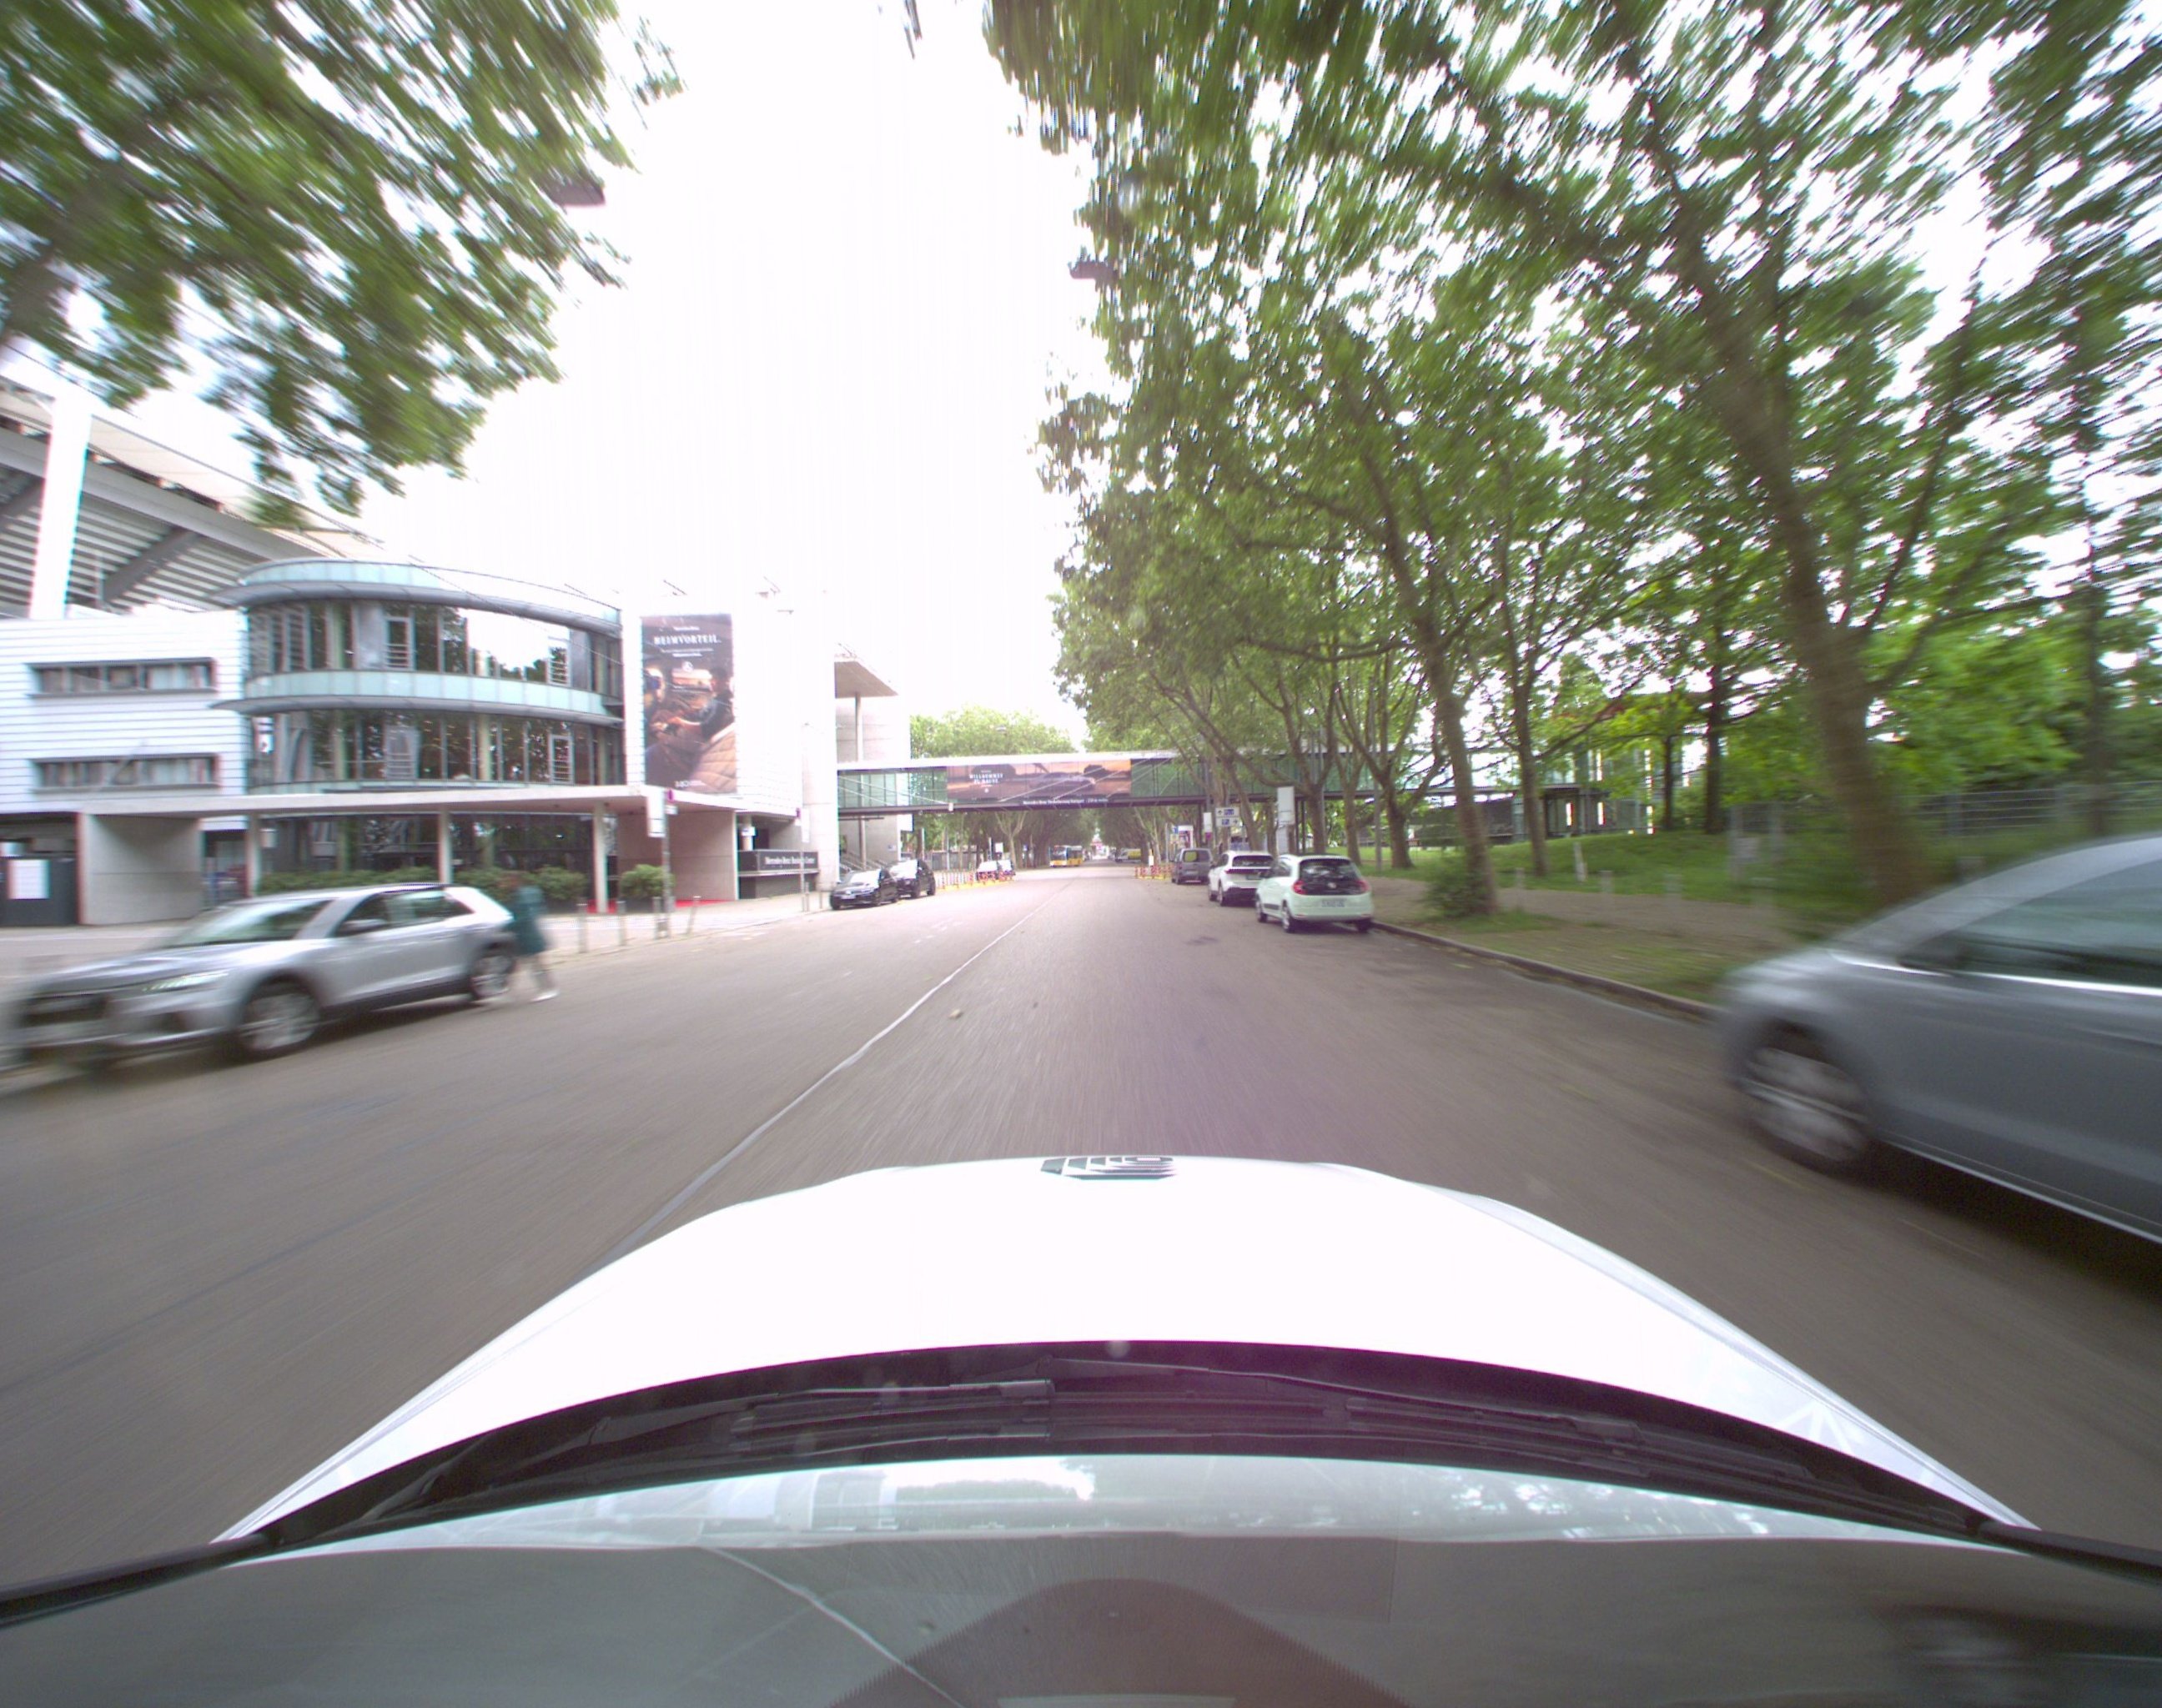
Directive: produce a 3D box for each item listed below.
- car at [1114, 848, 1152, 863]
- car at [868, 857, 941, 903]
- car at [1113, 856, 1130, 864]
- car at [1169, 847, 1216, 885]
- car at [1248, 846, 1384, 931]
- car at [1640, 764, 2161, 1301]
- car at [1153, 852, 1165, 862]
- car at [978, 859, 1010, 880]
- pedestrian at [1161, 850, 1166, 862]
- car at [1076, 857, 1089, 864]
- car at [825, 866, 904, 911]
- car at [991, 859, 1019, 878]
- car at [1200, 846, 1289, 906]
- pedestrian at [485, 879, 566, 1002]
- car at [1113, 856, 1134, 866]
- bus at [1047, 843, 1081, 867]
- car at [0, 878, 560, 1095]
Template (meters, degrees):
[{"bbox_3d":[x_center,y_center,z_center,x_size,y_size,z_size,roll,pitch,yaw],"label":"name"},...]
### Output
[{"bbox_3d":[9.655,0.276,151.698,6.802,2.513,2.316,-2,0,-1],"label":"car"},{"bbox_3d":[-8.043,1.129,37.581,2.027,1.789,4.910,-5,0,2],"label":"car"},{"bbox_3d":[9.476,1.366,190.394,3.973,1.794,1.543,-2,-1,0],"label":"car"},{"bbox_3d":[5.621,0.568,41.546,1.840,1.783,5.213,-1,0,2],"label":"car"},{"bbox_3d":[4.818,0.658,17.323,1.801,1.526,4.097,-2,0,2],"label":"car"},{"bbox_3d":[4.349,0.530,2.542,1.975,1.680,4.732,-2,0,1],"label":"car"},{"bbox_3d":[15.480,0.576,161.248,1.986,1.772,4.002,-2,0,2],"label":"car"},{"bbox_3d":[-7.054,1.222,66.453,1.851,1.453,4.450,-5,0,2],"label":"car"},{"bbox_3d":[12.204,0.303,120.555,0.572,1.888,0.615,-2,-1,-7],"label":"pedestrian"},{"bbox_3d":[0.341,1.988,255.922,3.972,1.970,2.001,-2,-1,2],"label":"car"},{"bbox_3d":[-8.368,1.289,31.830,1.698,1.419,4.326,-5,0,2],"label":"car"},{"bbox_3d":[-7.011,1.325,75.333,1.986,1.584,4.115,-5,0,2],"label":"car"},{"bbox_3d":[4.953,0.631,25.335,1.907,1.618,4.751,-2,0,2],"label":"car"},{"bbox_3d":[-6.890,1.053,10.113,0.581,1.466,0.568,-1,0,5],"label":"pedestrian"},{"bbox_3d":[8.227,1.294,159.171,3.973,1.794,1.543,-2,-1,0],"label":"car"},{"bbox_3d":[-2.359,0.159,119.299,3.022,3.160,12.703,-4,0,7],"label":"bus"},{"bbox_3d":[-8.372,1.150,8.948,2.066,1.563,4.758,-2,0,2],"label":"car"}]
